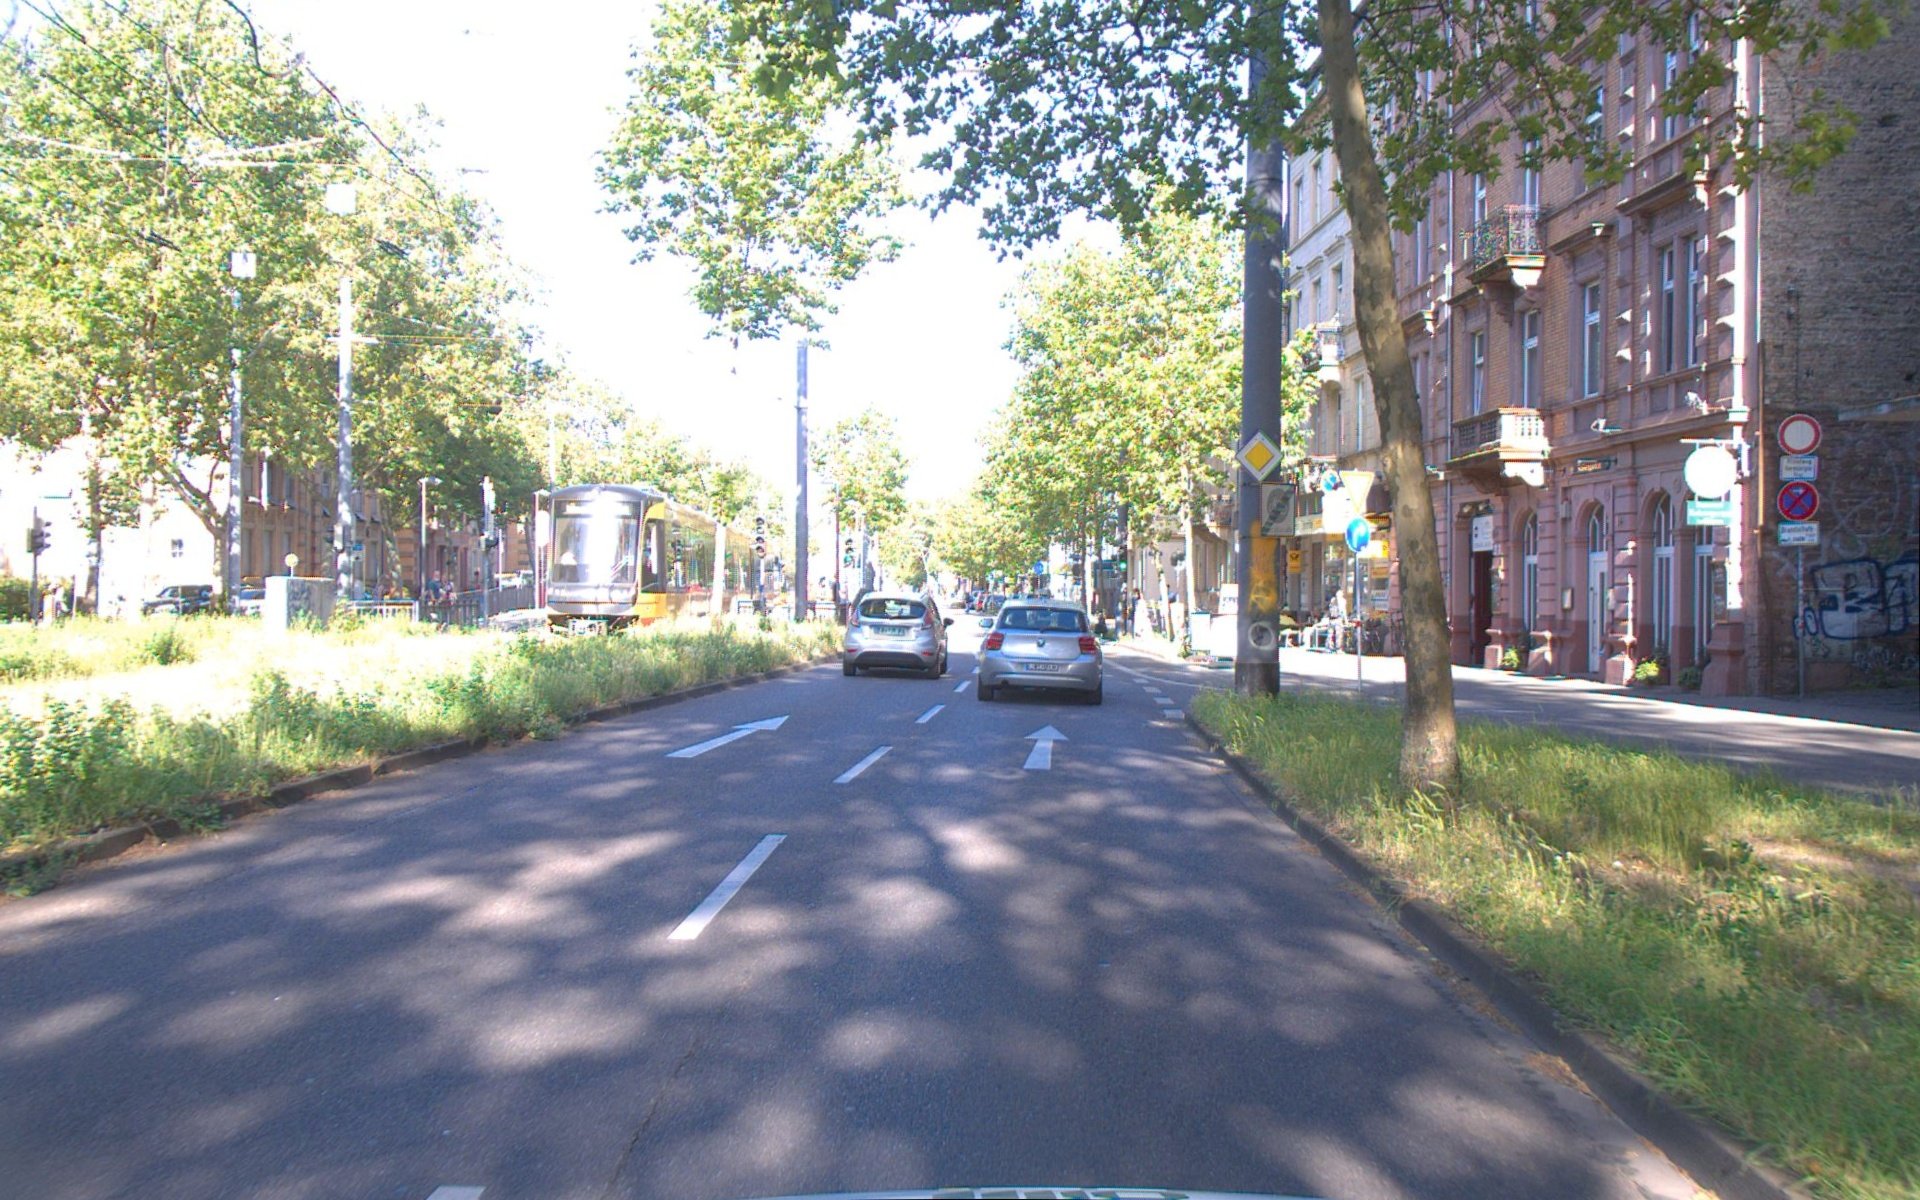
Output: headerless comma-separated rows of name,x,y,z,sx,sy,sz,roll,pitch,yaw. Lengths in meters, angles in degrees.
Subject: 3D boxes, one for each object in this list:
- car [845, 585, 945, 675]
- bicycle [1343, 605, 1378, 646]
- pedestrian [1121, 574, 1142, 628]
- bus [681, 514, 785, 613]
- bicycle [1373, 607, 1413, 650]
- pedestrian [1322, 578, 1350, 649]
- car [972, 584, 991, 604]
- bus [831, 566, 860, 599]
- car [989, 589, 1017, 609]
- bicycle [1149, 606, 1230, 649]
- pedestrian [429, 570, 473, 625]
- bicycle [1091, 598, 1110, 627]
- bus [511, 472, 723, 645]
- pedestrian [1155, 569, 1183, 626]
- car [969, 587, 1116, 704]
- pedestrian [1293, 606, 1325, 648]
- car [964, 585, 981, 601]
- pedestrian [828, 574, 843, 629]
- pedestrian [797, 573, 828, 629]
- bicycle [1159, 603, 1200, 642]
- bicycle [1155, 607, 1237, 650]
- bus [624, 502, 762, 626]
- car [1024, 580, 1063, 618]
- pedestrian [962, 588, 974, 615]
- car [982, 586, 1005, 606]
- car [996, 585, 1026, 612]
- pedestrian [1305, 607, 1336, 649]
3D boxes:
car,-1.130,0.477,29.383,1.613,1.386,3.759,2,1,-2
bicycle,10.765,0.673,44.498,0.434,1.010,1.688,2,1,-3
pedestrian,5.811,0.037,56.026,0.628,1.802,0.869,2,1,4
bus,-8.751,-1.366,65.210,2.811,3.504,11.607,1,0,-2
bicycle,10.882,0.702,41.585,0.434,1.010,1.688,2,1,-3
pedestrian,10.053,0.357,44.193,0.459,1.842,0.773,3,1,29
car,2.108,-0.615,164.396,1.690,1.913,3.999,2,0,-2
bus,-13.421,-2.105,195.406,2.694,3.689,18.842,1,1,-2
car,3.438,-0.095,133.496,1.953,1.535,4.596,2,0,-2
bicycle,5.884,0.707,42.352,1.974,1.010,0.444,2,1,-5
pedestrian,-15.553,-0.069,50.602,1.155,1.672,0.891,1,0,-10
bicycle,5.070,0.440,59.728,0.419,0.987,1.750,2,1,-2
bus,-7.975,-0.901,40.511,2.811,3.504,13.212,1,0,-2
pedestrian,7.670,-0.087,60.678,0.864,2.048,0.857,2,1,1
car,1.122,0.606,24.322,1.727,1.457,3.998,2,1,-3
pedestrian,10.346,0.802,49.038,0.762,1.181,0.465,2,1,-27
car,1.375,-0.788,180.847,1.666,1.560,3.715,2,1,-2
pedestrian,-4.430,0.041,58.849,0.442,1.936,0.583,1,0,-9
pedestrian,-5.264,0.026,59.049,1.051,1.949,1.126,1,0,-4
bicycle,6.048,0.611,45.667,0.435,1.010,1.681,2,1,-16
bicycle,5.957,0.720,41.802,1.964,1.010,0.444,2,1,-5
bus,-8.344,-1.073,53.290,2.811,3.504,12.210,1,0,-2
car,4.616,-0.087,92.009,1.719,1.999,4.735,1,1,-2
pedestrian,0.617,0.098,129.275,0.820,2.048,0.649,2,1,5
car,2.790,-0.329,138.827,1.636,1.578,3.999,2,1,-2
car,3.292,-0.114,107.297,1.658,1.687,4.038,0,1,-2
pedestrian,10.569,0.812,48.474,0.634,1.181,0.609,2,1,-13
